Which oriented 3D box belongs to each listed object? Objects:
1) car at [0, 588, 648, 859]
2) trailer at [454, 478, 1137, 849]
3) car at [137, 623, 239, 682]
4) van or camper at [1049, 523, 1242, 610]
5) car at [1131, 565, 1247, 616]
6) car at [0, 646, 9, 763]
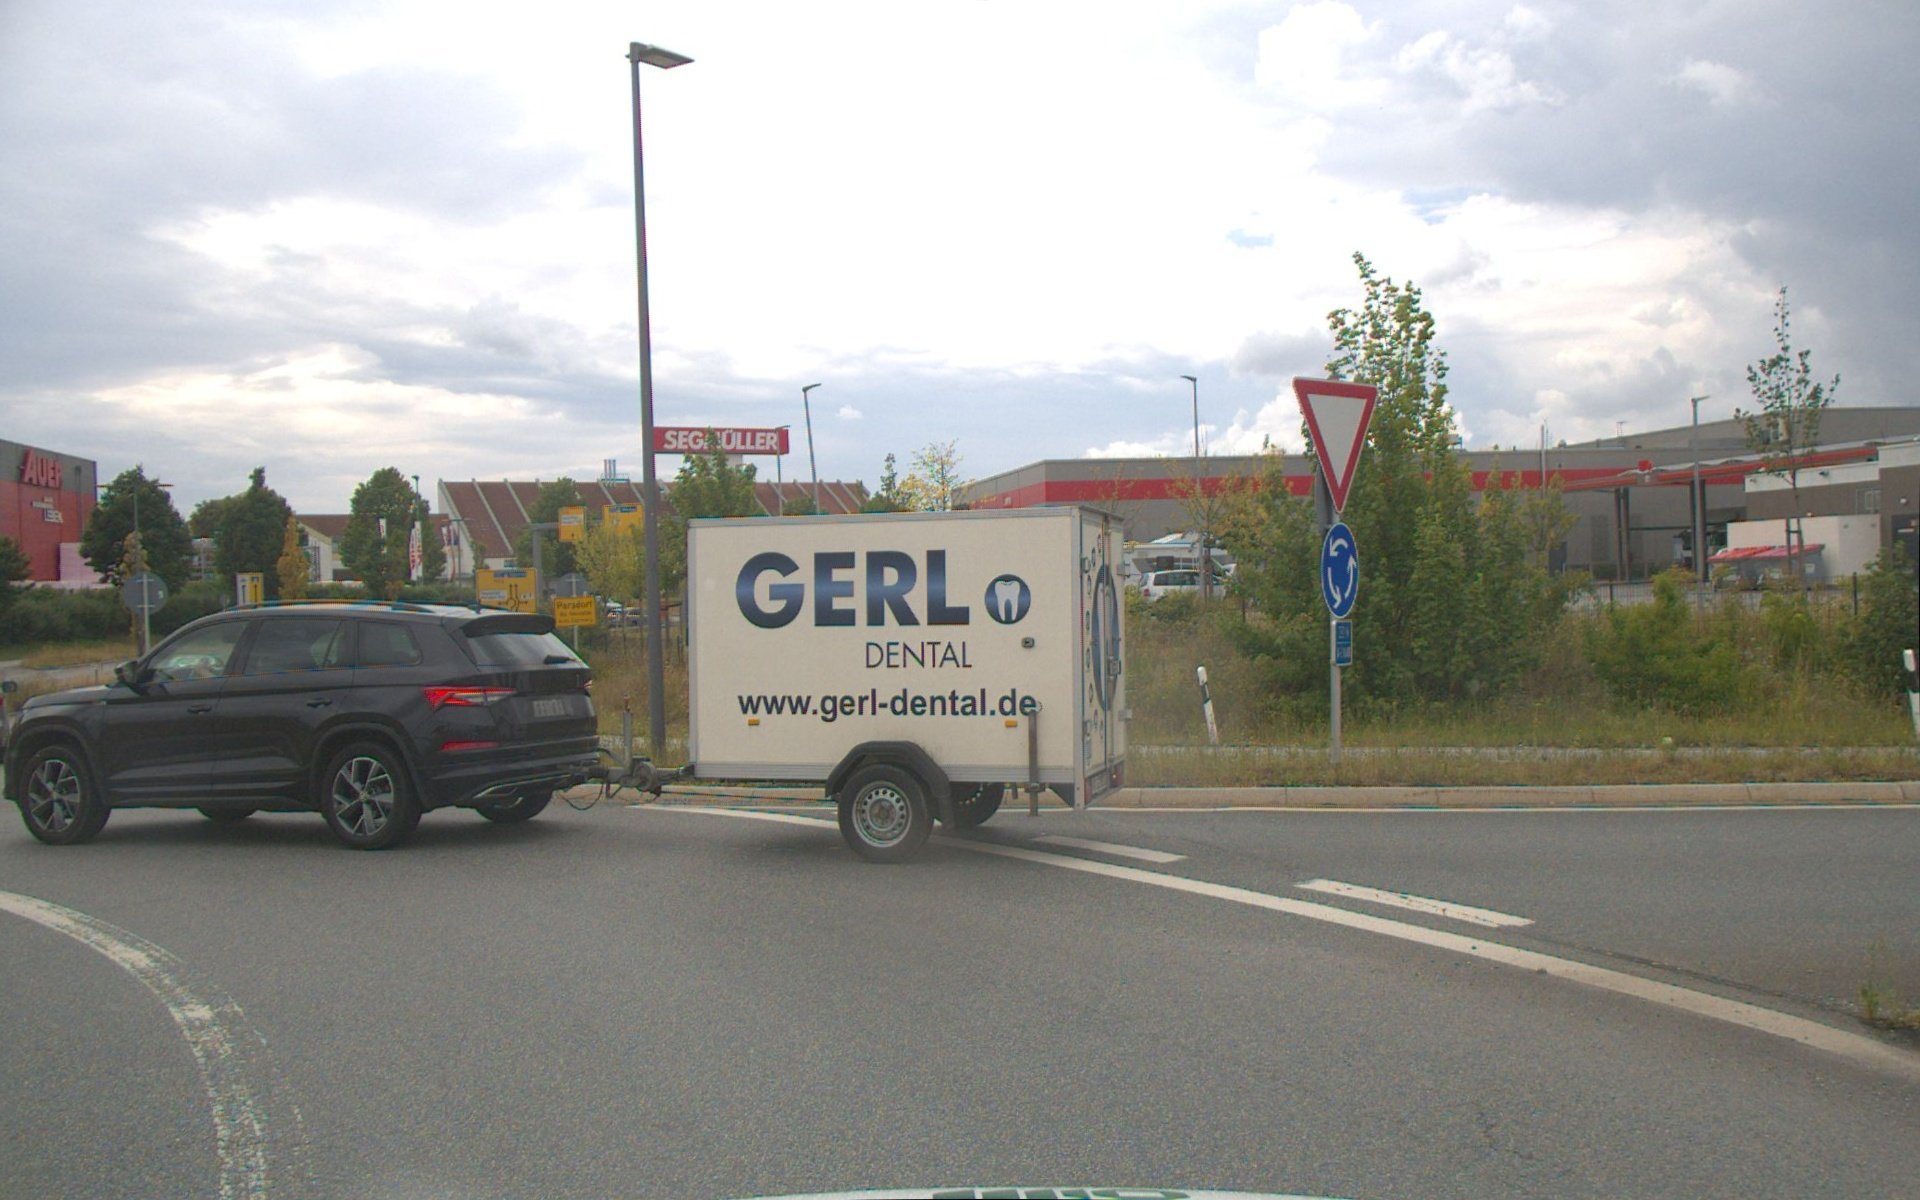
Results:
[{"bbox_3d":[-4.760,0.847,12.151,4.505,1.699,1.818,-2,1,20],"label":"car"},{"bbox_3d":[-1.021,0.415,10.910,4.045,2.128,1.814,-2,0,16],"label":"trailer"},{"bbox_3d":[-24.674,1.639,52.976,1.871,1.646,3.992,-2,1,-9],"label":"car"},{"bbox_3d":[7.744,-1.426,69.246,7.581,3.234,2.484,-3,1,-13],"label":"van or camper"},{"bbox_3d":[8.618,-0.361,62.468,3.974,1.750,1.776,-2,1,-9],"label":"car"},{"bbox_3d":[-15.335,1.533,24.428,1.754,1.645,3.869,-2,1,-37],"label":"car"}]
